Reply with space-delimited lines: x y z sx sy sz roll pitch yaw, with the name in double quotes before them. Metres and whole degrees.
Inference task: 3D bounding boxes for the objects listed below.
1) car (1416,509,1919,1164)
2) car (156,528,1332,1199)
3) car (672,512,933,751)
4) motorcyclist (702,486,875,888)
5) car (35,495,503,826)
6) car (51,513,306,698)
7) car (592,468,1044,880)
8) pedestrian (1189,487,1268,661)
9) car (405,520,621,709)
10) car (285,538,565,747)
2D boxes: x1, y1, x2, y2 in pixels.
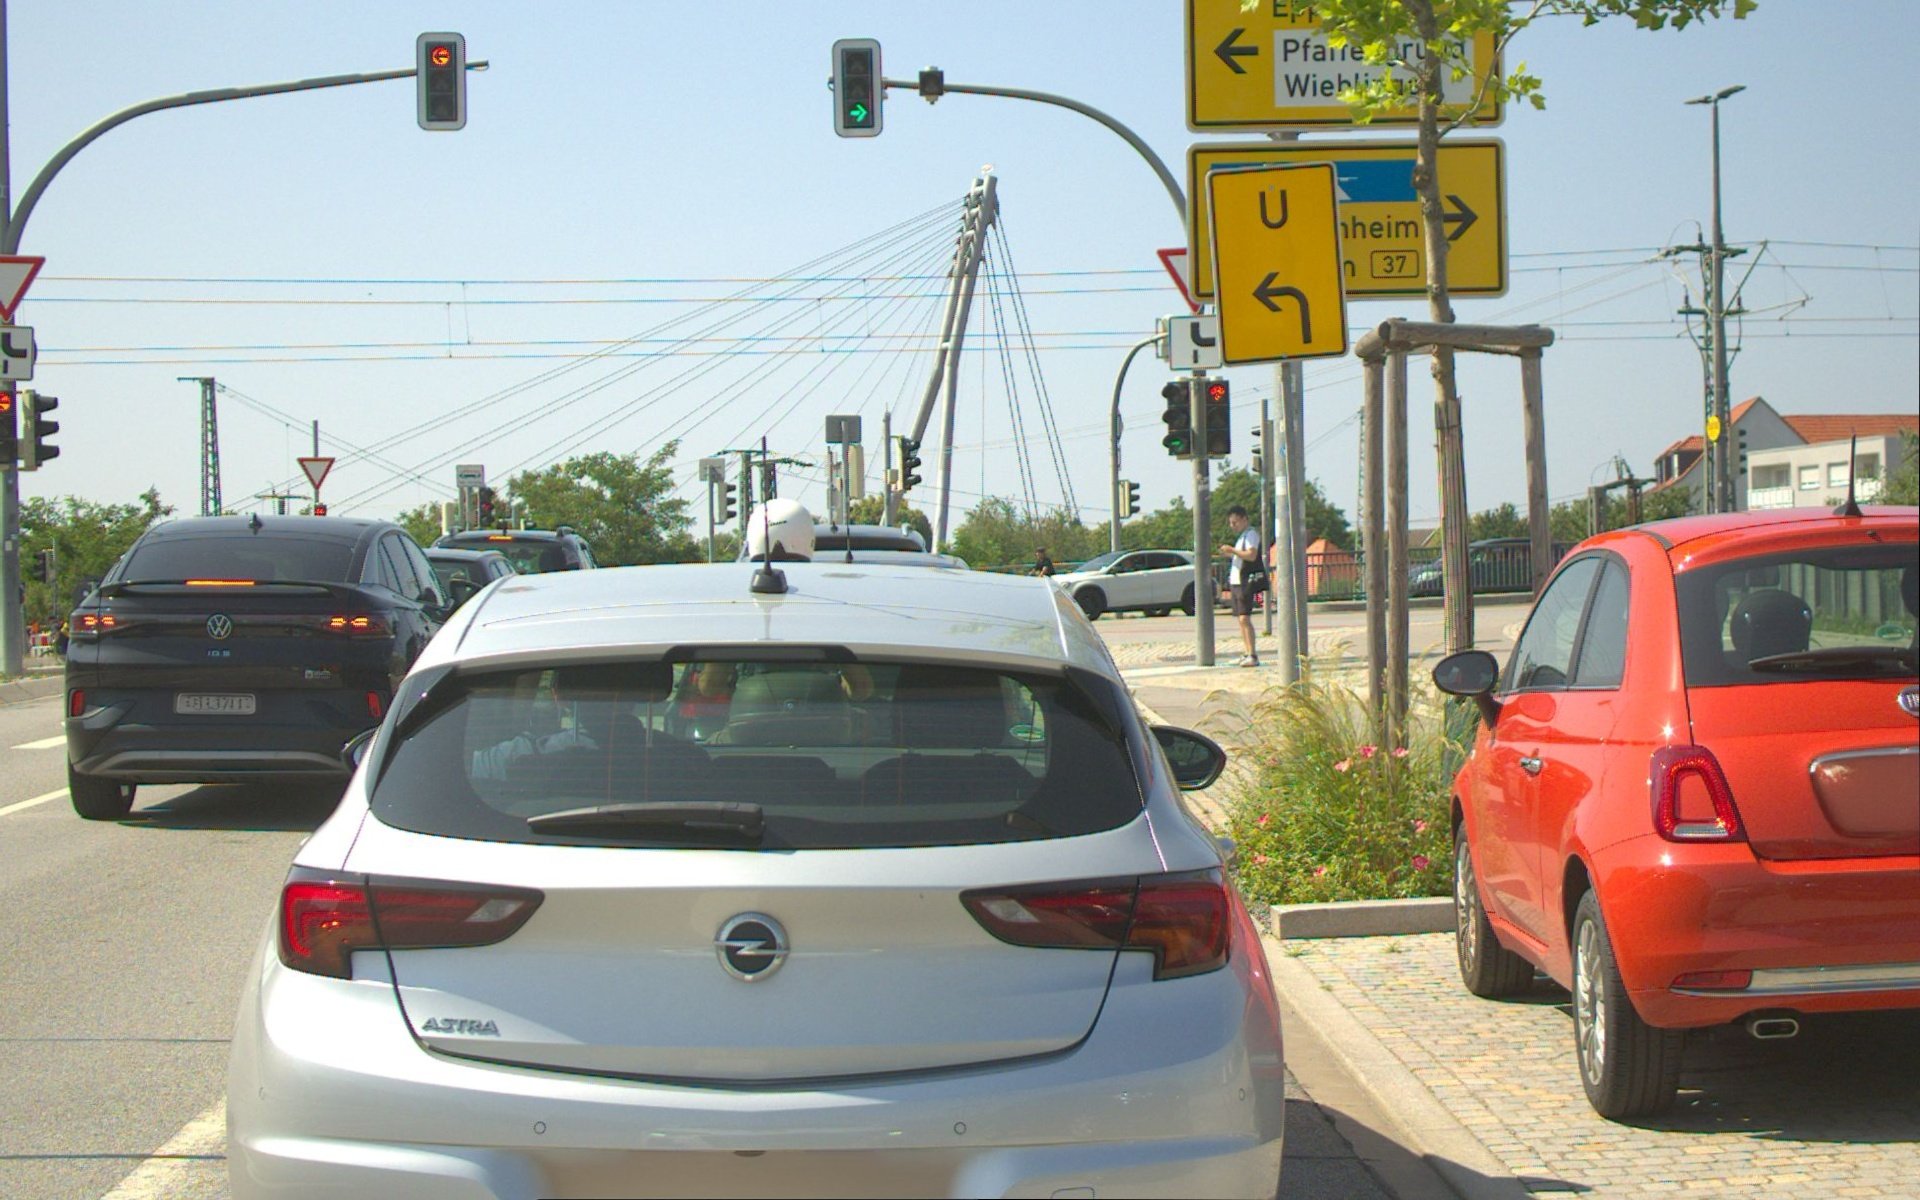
"car" 2.332 0.514 9.754 1.610 1.491 3.352 -2 1 1
"car" -0.427 0.620 7.142 1.742 1.473 4.001 1 1 -3
"car" -1.067 0.158 24.959 1.724 1.558 4.000 1 2 0
"motorcyclist" -0.608 0.299 12.264 0.581 1.384 0.707 1 0 -2
"car" -3.759 0.282 19.441 1.801 1.636 4.366 1 1 -1
"car" -6.972 0.026 30.984 1.597 1.542 3.763 1 1 -3
"car" -0.659 0.272 17.539 1.993 1.814 4.402 1 1 -1
"pedestrian" 2.914 -0.280 37.360 0.647 1.830 0.798 -4 0 -2
"car" -4.051 0.103 31.601 1.649 1.610 3.821 1 1 -3
"car" -3.923 0.276 25.715 1.575 1.429 3.786 1 1 -1
